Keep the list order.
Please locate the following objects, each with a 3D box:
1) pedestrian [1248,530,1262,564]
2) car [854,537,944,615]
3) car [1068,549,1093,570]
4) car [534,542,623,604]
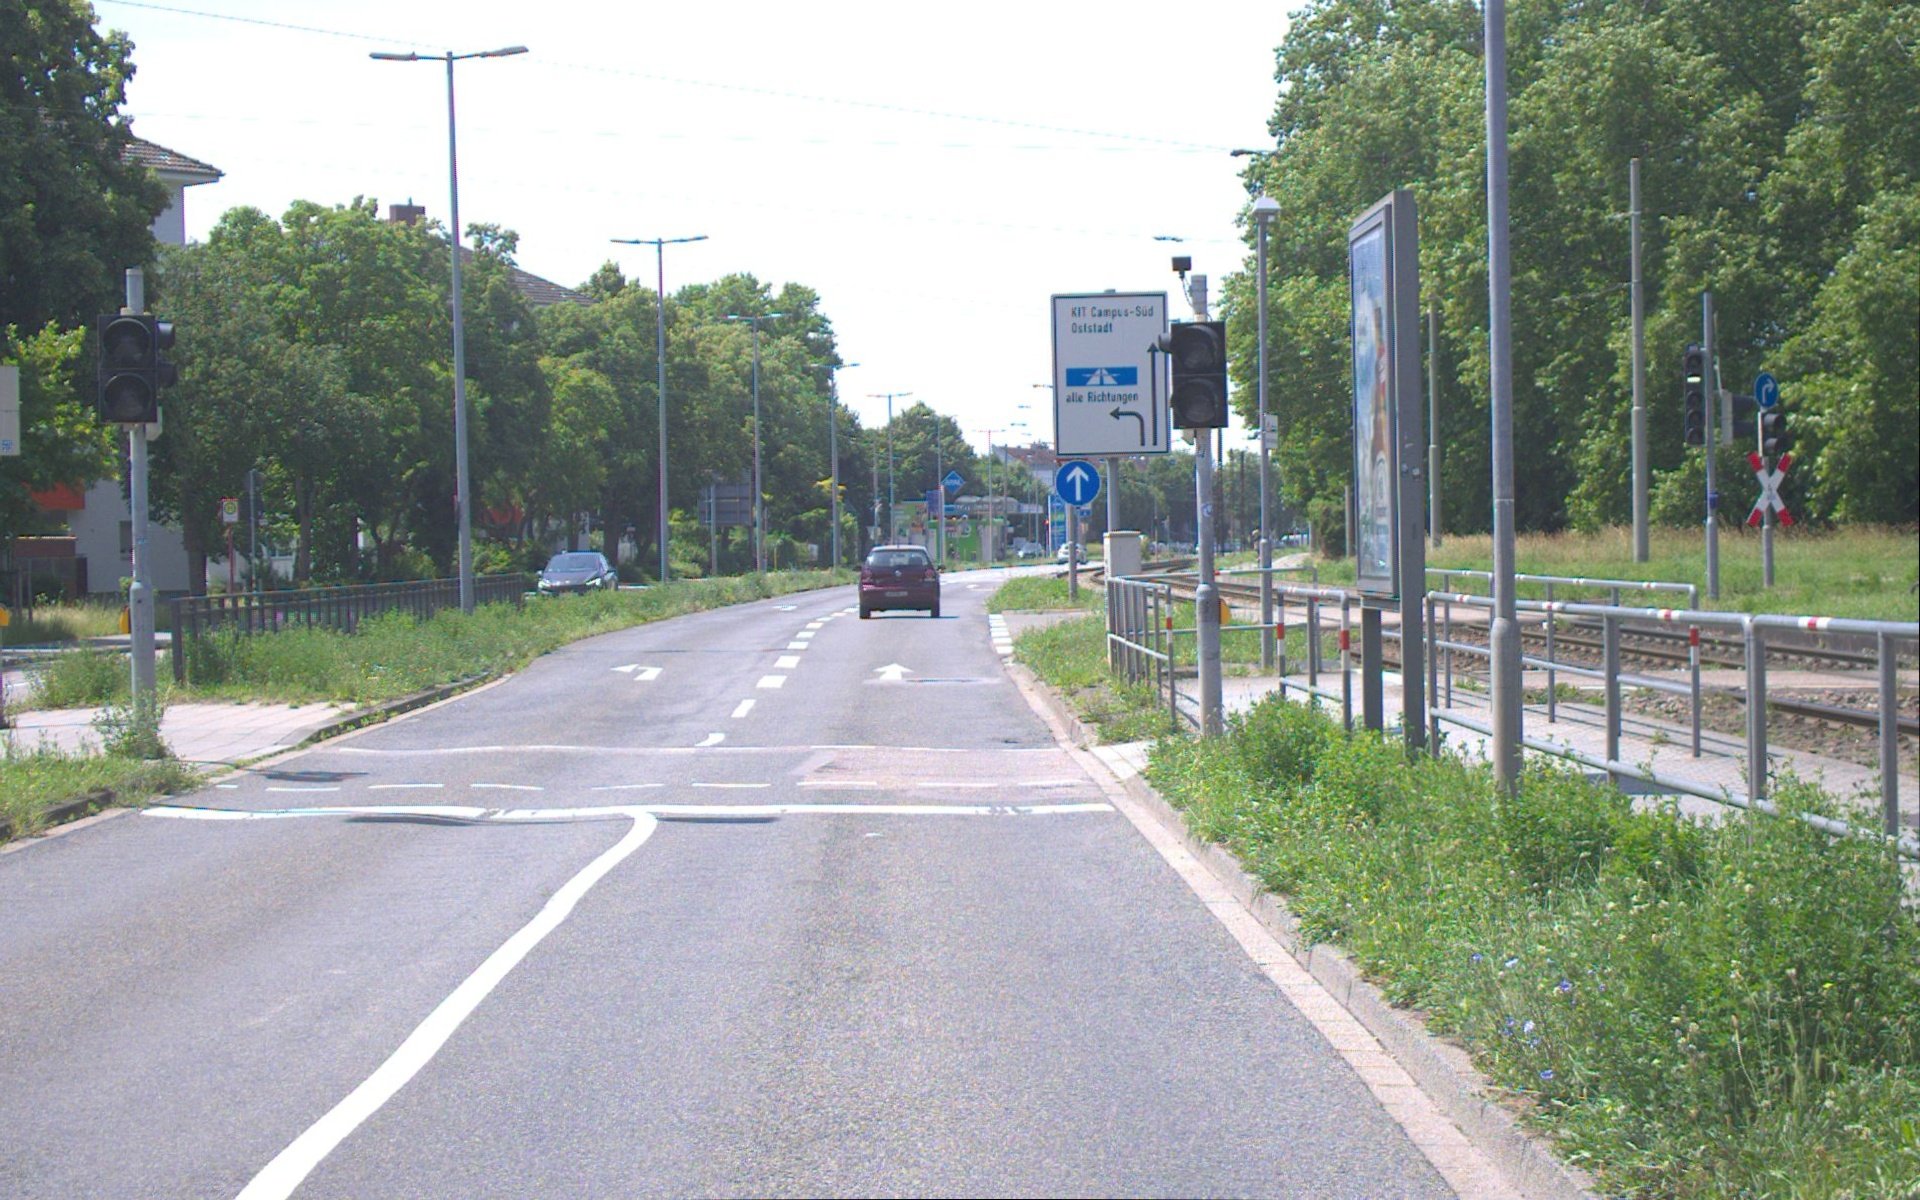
[{"bbox_3d":[14.961,-2.687,174.481,0.662,1.720,0.816,-1,1,6],"label":"pedestrian"},{"bbox_3d":[-1.211,-0.490,69.500,1.703,1.472,3.716,-2,1,0],"label":"car"},{"bbox_3d":[8.593,-2.885,245.617,1.703,1.475,3.716,1,0,2],"label":"car"},{"bbox_3d":[-9.943,-0.731,89.737,1.756,1.538,4.161,-2,1,1],"label":"car"}]
